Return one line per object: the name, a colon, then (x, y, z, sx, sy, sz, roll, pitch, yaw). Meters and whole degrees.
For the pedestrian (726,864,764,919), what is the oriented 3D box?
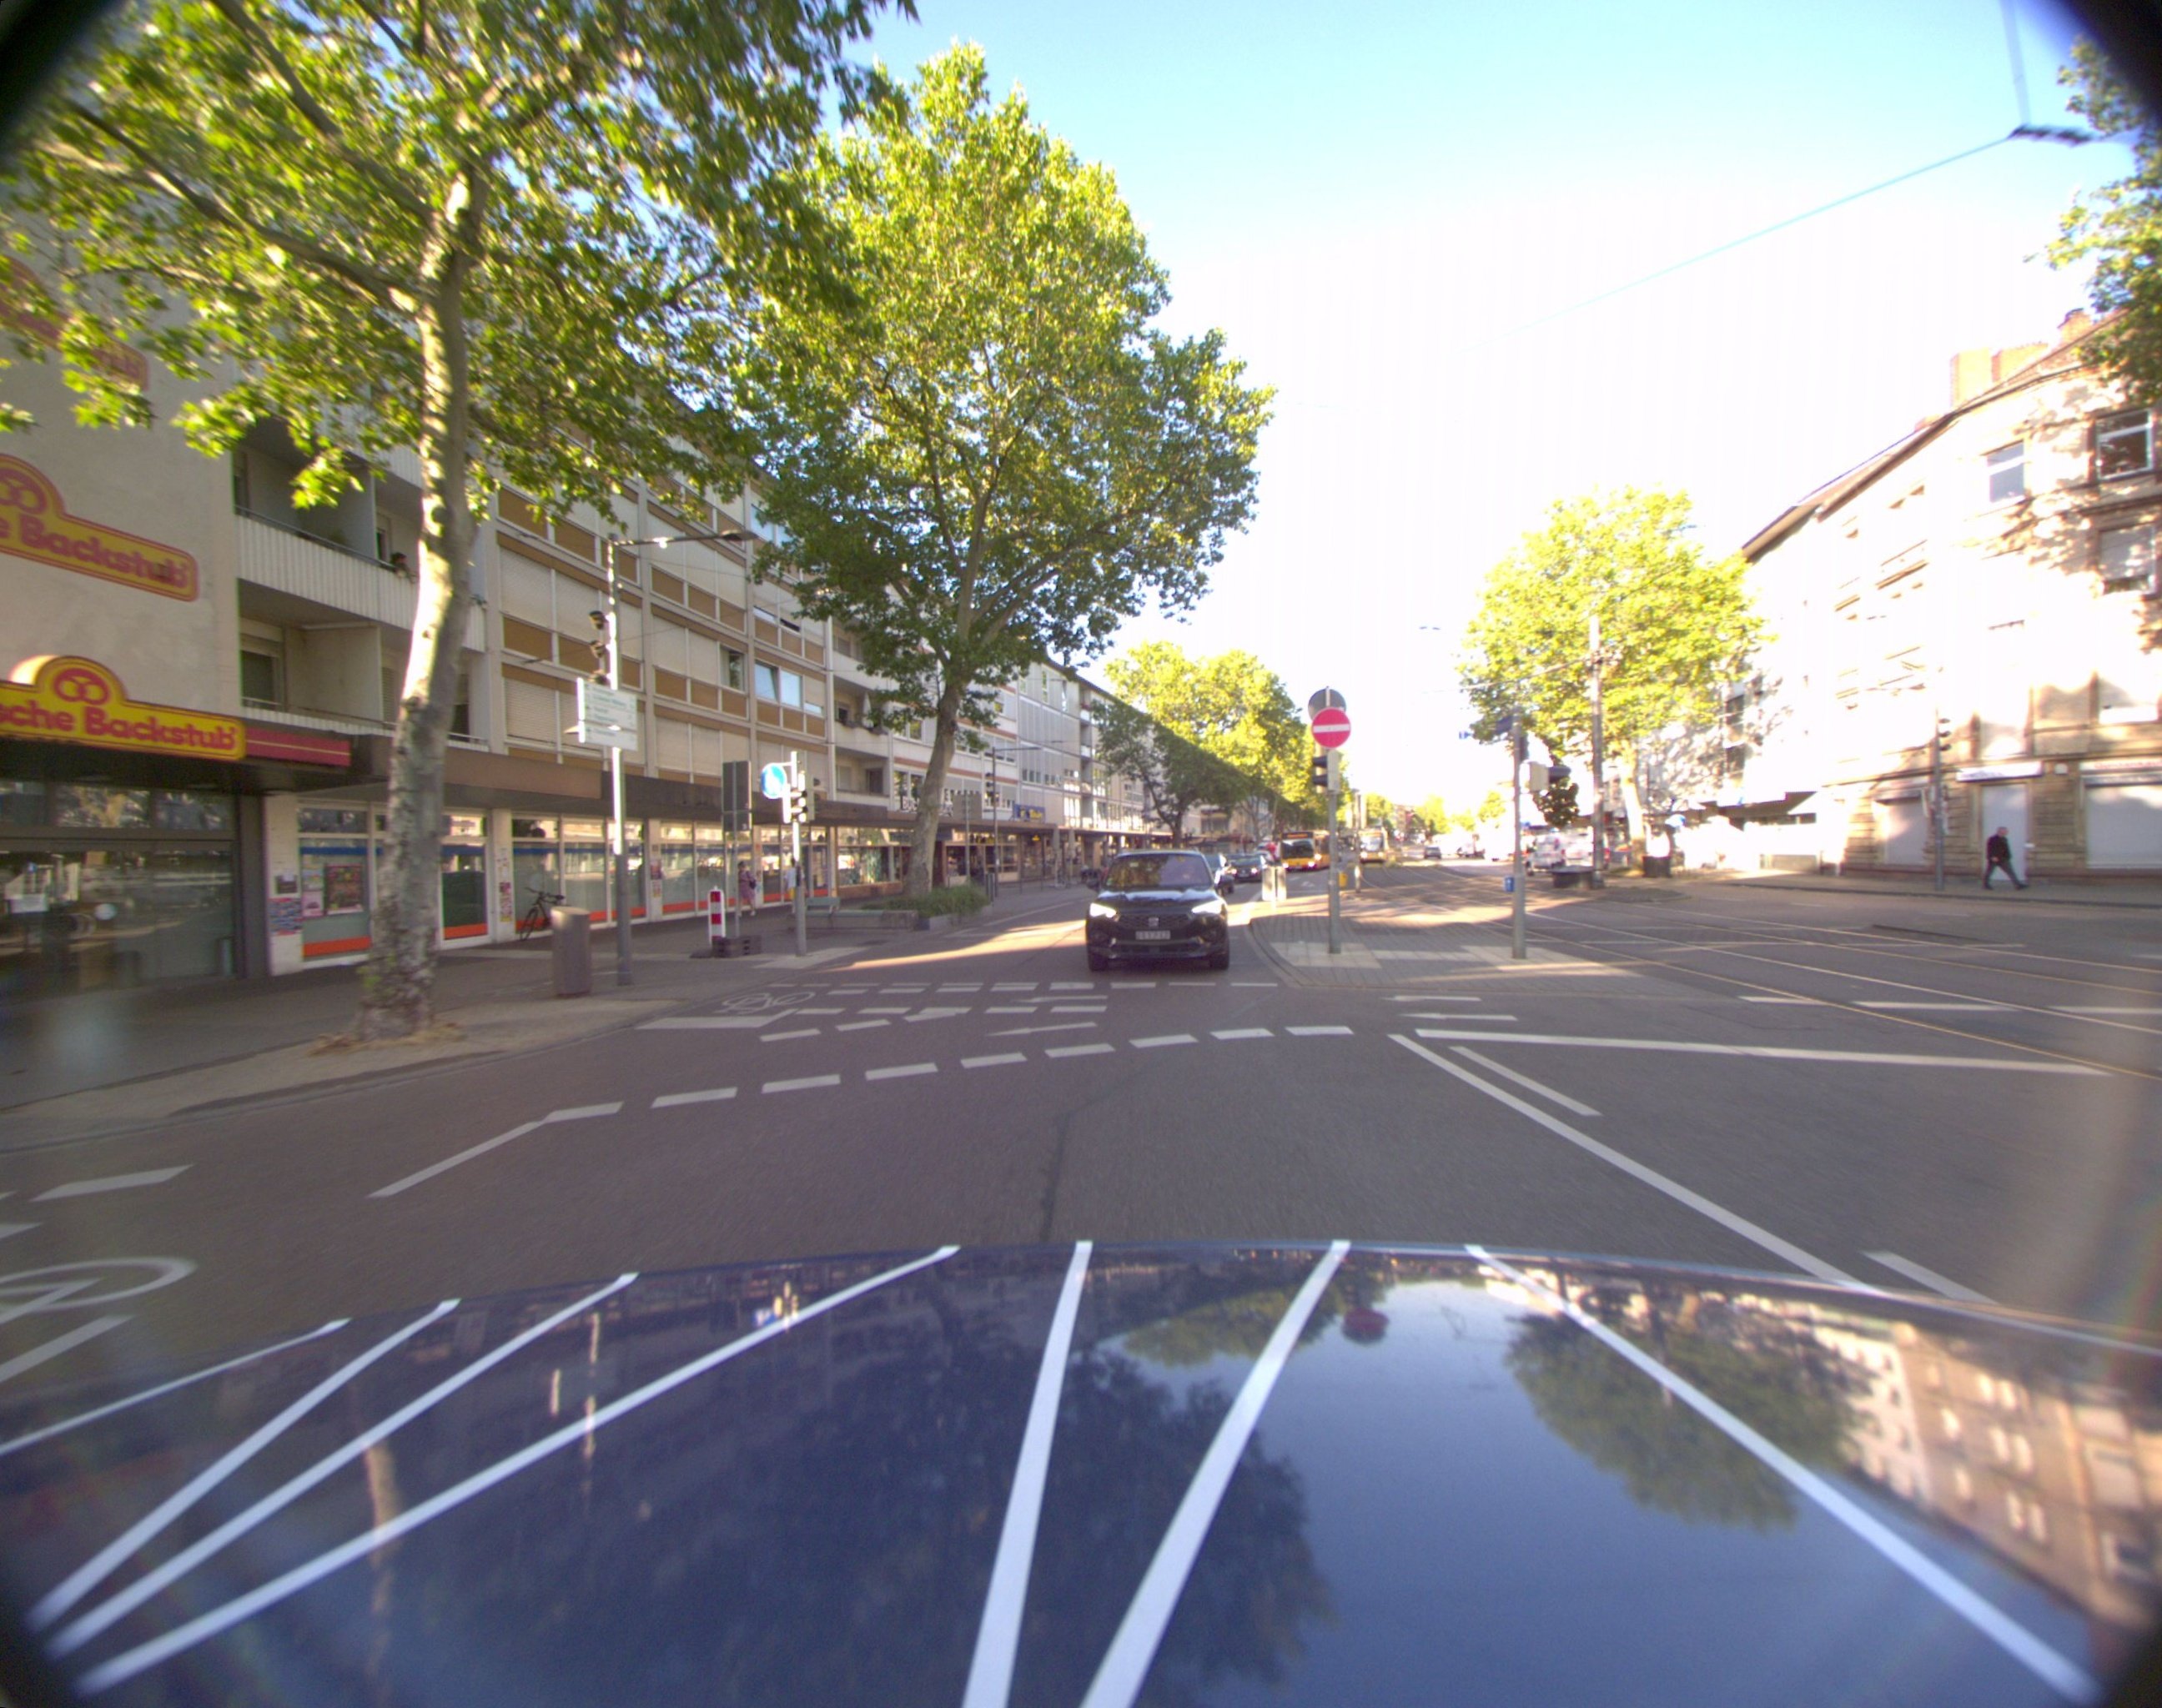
pedestrian: (-9.816, 1.082, 22.219, 0.640, 1.543, 0.808, 0, 1, 12)

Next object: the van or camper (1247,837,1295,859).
van or camper: (23.539, -0.752, 94.090, 5.467, 2.455, 1.997, -2, 1, -19)

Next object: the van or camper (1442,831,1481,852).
van or camper: (56.528, -1.868, 112.844, 6.407, 2.651, 1.996, -3, 0, -31)

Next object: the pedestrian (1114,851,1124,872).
pedestrian: (2.970, 0.576, 59.396, 0.537, 1.582, 0.688, 1, 2, 20)

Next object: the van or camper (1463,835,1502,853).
van or camper: (49.260, -1.192, 93.281, 4.456, 1.978, 1.797, -3, 0, -24)

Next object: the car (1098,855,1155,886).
car: (2.580, 0.870, 42.152, 1.780, 1.488, 4.574, 1, 1, 22)

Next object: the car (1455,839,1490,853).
car: (51.412, -1.063, 99.864, 4.004, 1.577, 1.876, -3, 0, -22)

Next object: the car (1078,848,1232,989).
car: (0.888, 0.766, 11.134, 1.808, 1.638, 3.999, -1, 1, 0)

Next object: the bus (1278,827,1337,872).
bus: (17.808, -0.475, 59.095, 2.867, 2.961, 12.256, -3, 1, 23)

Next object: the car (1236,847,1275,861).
car: (19.352, -0.019, 84.339, 4.003, 1.514, 1.656, -1, 2, -19)

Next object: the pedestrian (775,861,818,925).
pedestrian: (-7.702, 1.044, 20.586, 0.837, 1.702, 0.793, 1, 0, 2)

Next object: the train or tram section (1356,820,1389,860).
train or tram section: (27.987, -1.311, 72.803, 2.634, 3.430, 11.146, -2, 0, 22)

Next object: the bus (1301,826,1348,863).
bus: (22.692, -0.978, 70.274, 2.867, 2.961, 12.256, -3, 1, 23)

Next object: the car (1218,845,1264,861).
car: (14.999, -0.096, 71.193, 4.004, 1.428, 1.656, -1, 2, -22)

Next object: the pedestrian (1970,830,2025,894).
pedestrian: (26.497, 0.231, 21.981, 0.619, 1.777, 0.972, -3, 0, 25)

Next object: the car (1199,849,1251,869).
car: (12.220, 0.400, 64.500, 4.005, 1.597, 1.805, -1, 1, -27)

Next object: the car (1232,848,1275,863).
car: (17.677, 0.151, 77.894, 4.003, 1.428, 1.656, -1, 2, -19)

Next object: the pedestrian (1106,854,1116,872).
pedestrian: (2.364, 0.689, 59.989, 0.537, 1.393, 0.688, 1, 2, 20)

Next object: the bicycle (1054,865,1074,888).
bicycle: (-0.820, 1.103, 37.996, 0.512, 1.064, 1.663, 1, 1, 17)

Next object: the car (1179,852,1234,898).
car: (4.893, 0.754, 29.297, 1.657, 1.571, 4.004, -2, 0, 15)

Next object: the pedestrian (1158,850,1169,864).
pedestrian: (8.157, 0.249, 75.366, 0.749, 1.354, 0.964, -1, 1, 25)

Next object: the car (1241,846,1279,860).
car: (20.537, -0.134, 87.354, 4.003, 1.555, 1.656, -1, 2, -19)

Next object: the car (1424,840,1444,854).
car: (41.055, -0.837, 88.378, 1.888, 1.464, 4.213, -2, 0, 22)

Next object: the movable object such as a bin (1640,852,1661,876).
movable object such as a bin: (26.828, 0.477, 35.798, 0.648, 1.087, 0.544, -1, 1, -29)

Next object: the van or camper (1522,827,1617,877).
van or camper: (24.278, -0.092, 38.009, 2.171, 2.305, 5.108, 0, 0, 10)

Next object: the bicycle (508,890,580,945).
bicycle: (-11.869, 1.379, 16.838, 0.438, 1.086, 1.462, 1, 1, 6)

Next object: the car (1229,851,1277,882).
car: (9.315, 0.641, 40.986, 1.656, 1.477, 4.167, -1, 0, 25)

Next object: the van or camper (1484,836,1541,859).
van or camper: (39.852, -0.593, 70.152, 4.819, 1.886, 1.948, -3, 0, -22)
